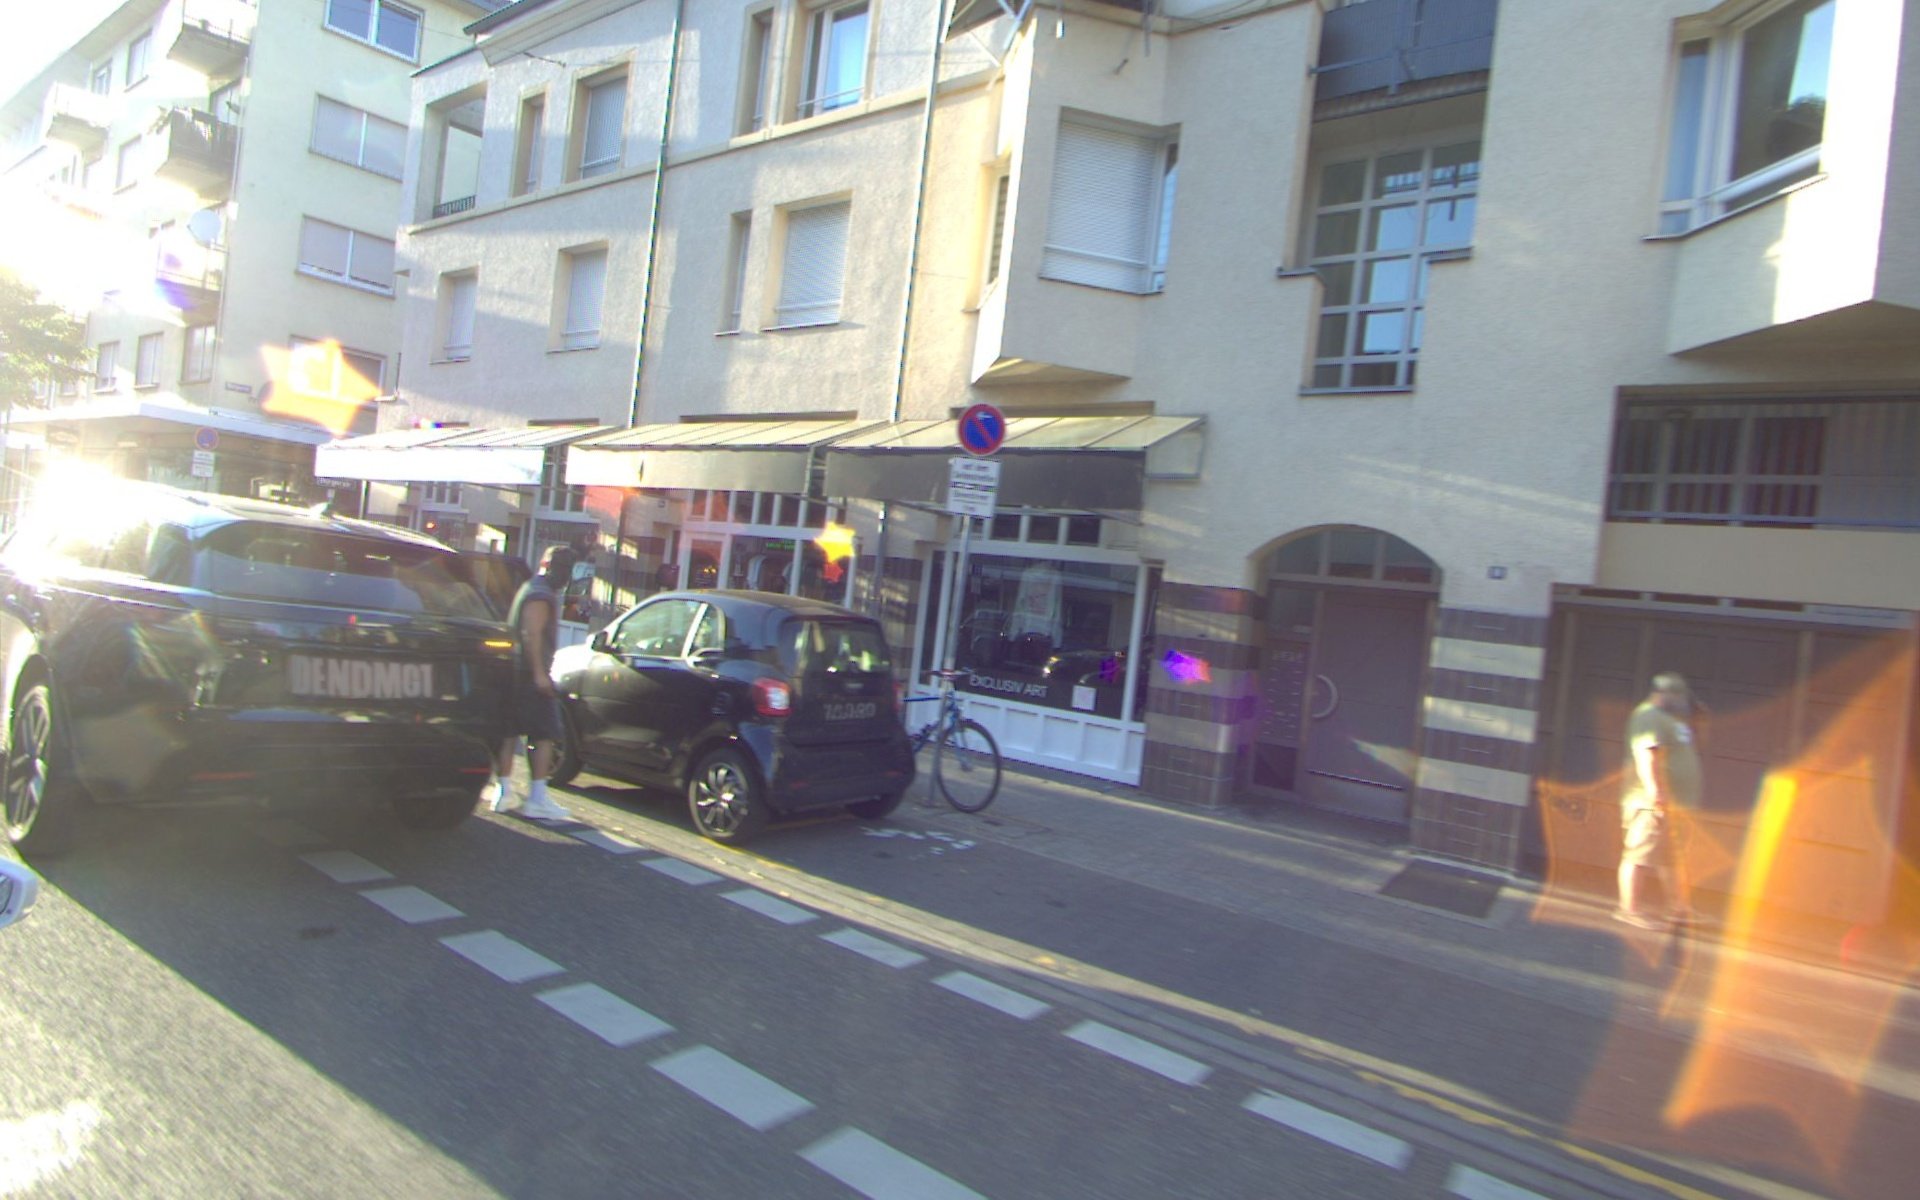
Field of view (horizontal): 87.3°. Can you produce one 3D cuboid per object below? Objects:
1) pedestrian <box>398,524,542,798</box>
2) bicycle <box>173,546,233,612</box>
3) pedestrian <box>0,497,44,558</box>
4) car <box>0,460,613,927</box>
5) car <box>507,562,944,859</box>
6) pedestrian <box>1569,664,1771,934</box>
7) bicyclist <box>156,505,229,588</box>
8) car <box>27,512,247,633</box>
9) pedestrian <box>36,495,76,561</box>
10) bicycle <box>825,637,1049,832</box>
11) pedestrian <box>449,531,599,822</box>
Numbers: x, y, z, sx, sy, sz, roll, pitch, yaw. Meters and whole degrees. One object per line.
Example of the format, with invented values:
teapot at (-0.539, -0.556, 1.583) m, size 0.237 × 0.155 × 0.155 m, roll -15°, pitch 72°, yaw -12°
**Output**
pedestrian at (-3.211, 0.389, 6.613) m, size 0.555 × 1.686 × 0.443 m, roll 6°, pitch 1°, yaw 12°
bicycle at (-13.921, -0.397, 18.482) m, size 1.691 × 1.052 × 0.304 m, roll 7°, pitch 0°, yaw 36°
pedestrian at (-26.053, -2.002, 27.897) m, size 0.849 × 1.578 × 0.688 m, roll 7°, pitch 0°, yaw 36°
car at (-4.313, 0.251, 5.789) m, size 4.602 × 1.674 × 1.997 m, roll 6°, pitch -2°, yaw 37°
car at (-1.738, 0.682, 7.372) m, size 2.651 × 1.573 × 1.633 m, roll 7°, pitch 1°, yaw 34°
pedestrian at (4.789, 1.326, 6.807) m, size 0.801 × 1.666 × 0.604 m, roll 7°, pitch 0°, yaw -18°
bicyclist at (-17.366, -1.204, 22.781) m, size 1.082 × 1.723 × 0.648 m, roll 6°, pitch 0°, yaw -28°
car at (-12.824, -0.460, 15.615) m, size 3.872 × 1.454 × 1.703 m, roll 6°, pitch 0°, yaw 37°
pedestrian at (-25.528, -2.032, 28.412) m, size 0.707 × 1.743 × 0.686 m, roll 7°, pitch 1°, yaw 42°
bicycle at (-0.224, 1.026, 8.104) m, size 1.796 × 1.250 × 0.397 m, roll 7°, pitch 1°, yaw 34°
pedestrian at (-2.699, 0.460, 6.245) m, size 0.555 × 1.686 × 0.443 m, roll 6°, pitch 1°, yaw 12°
